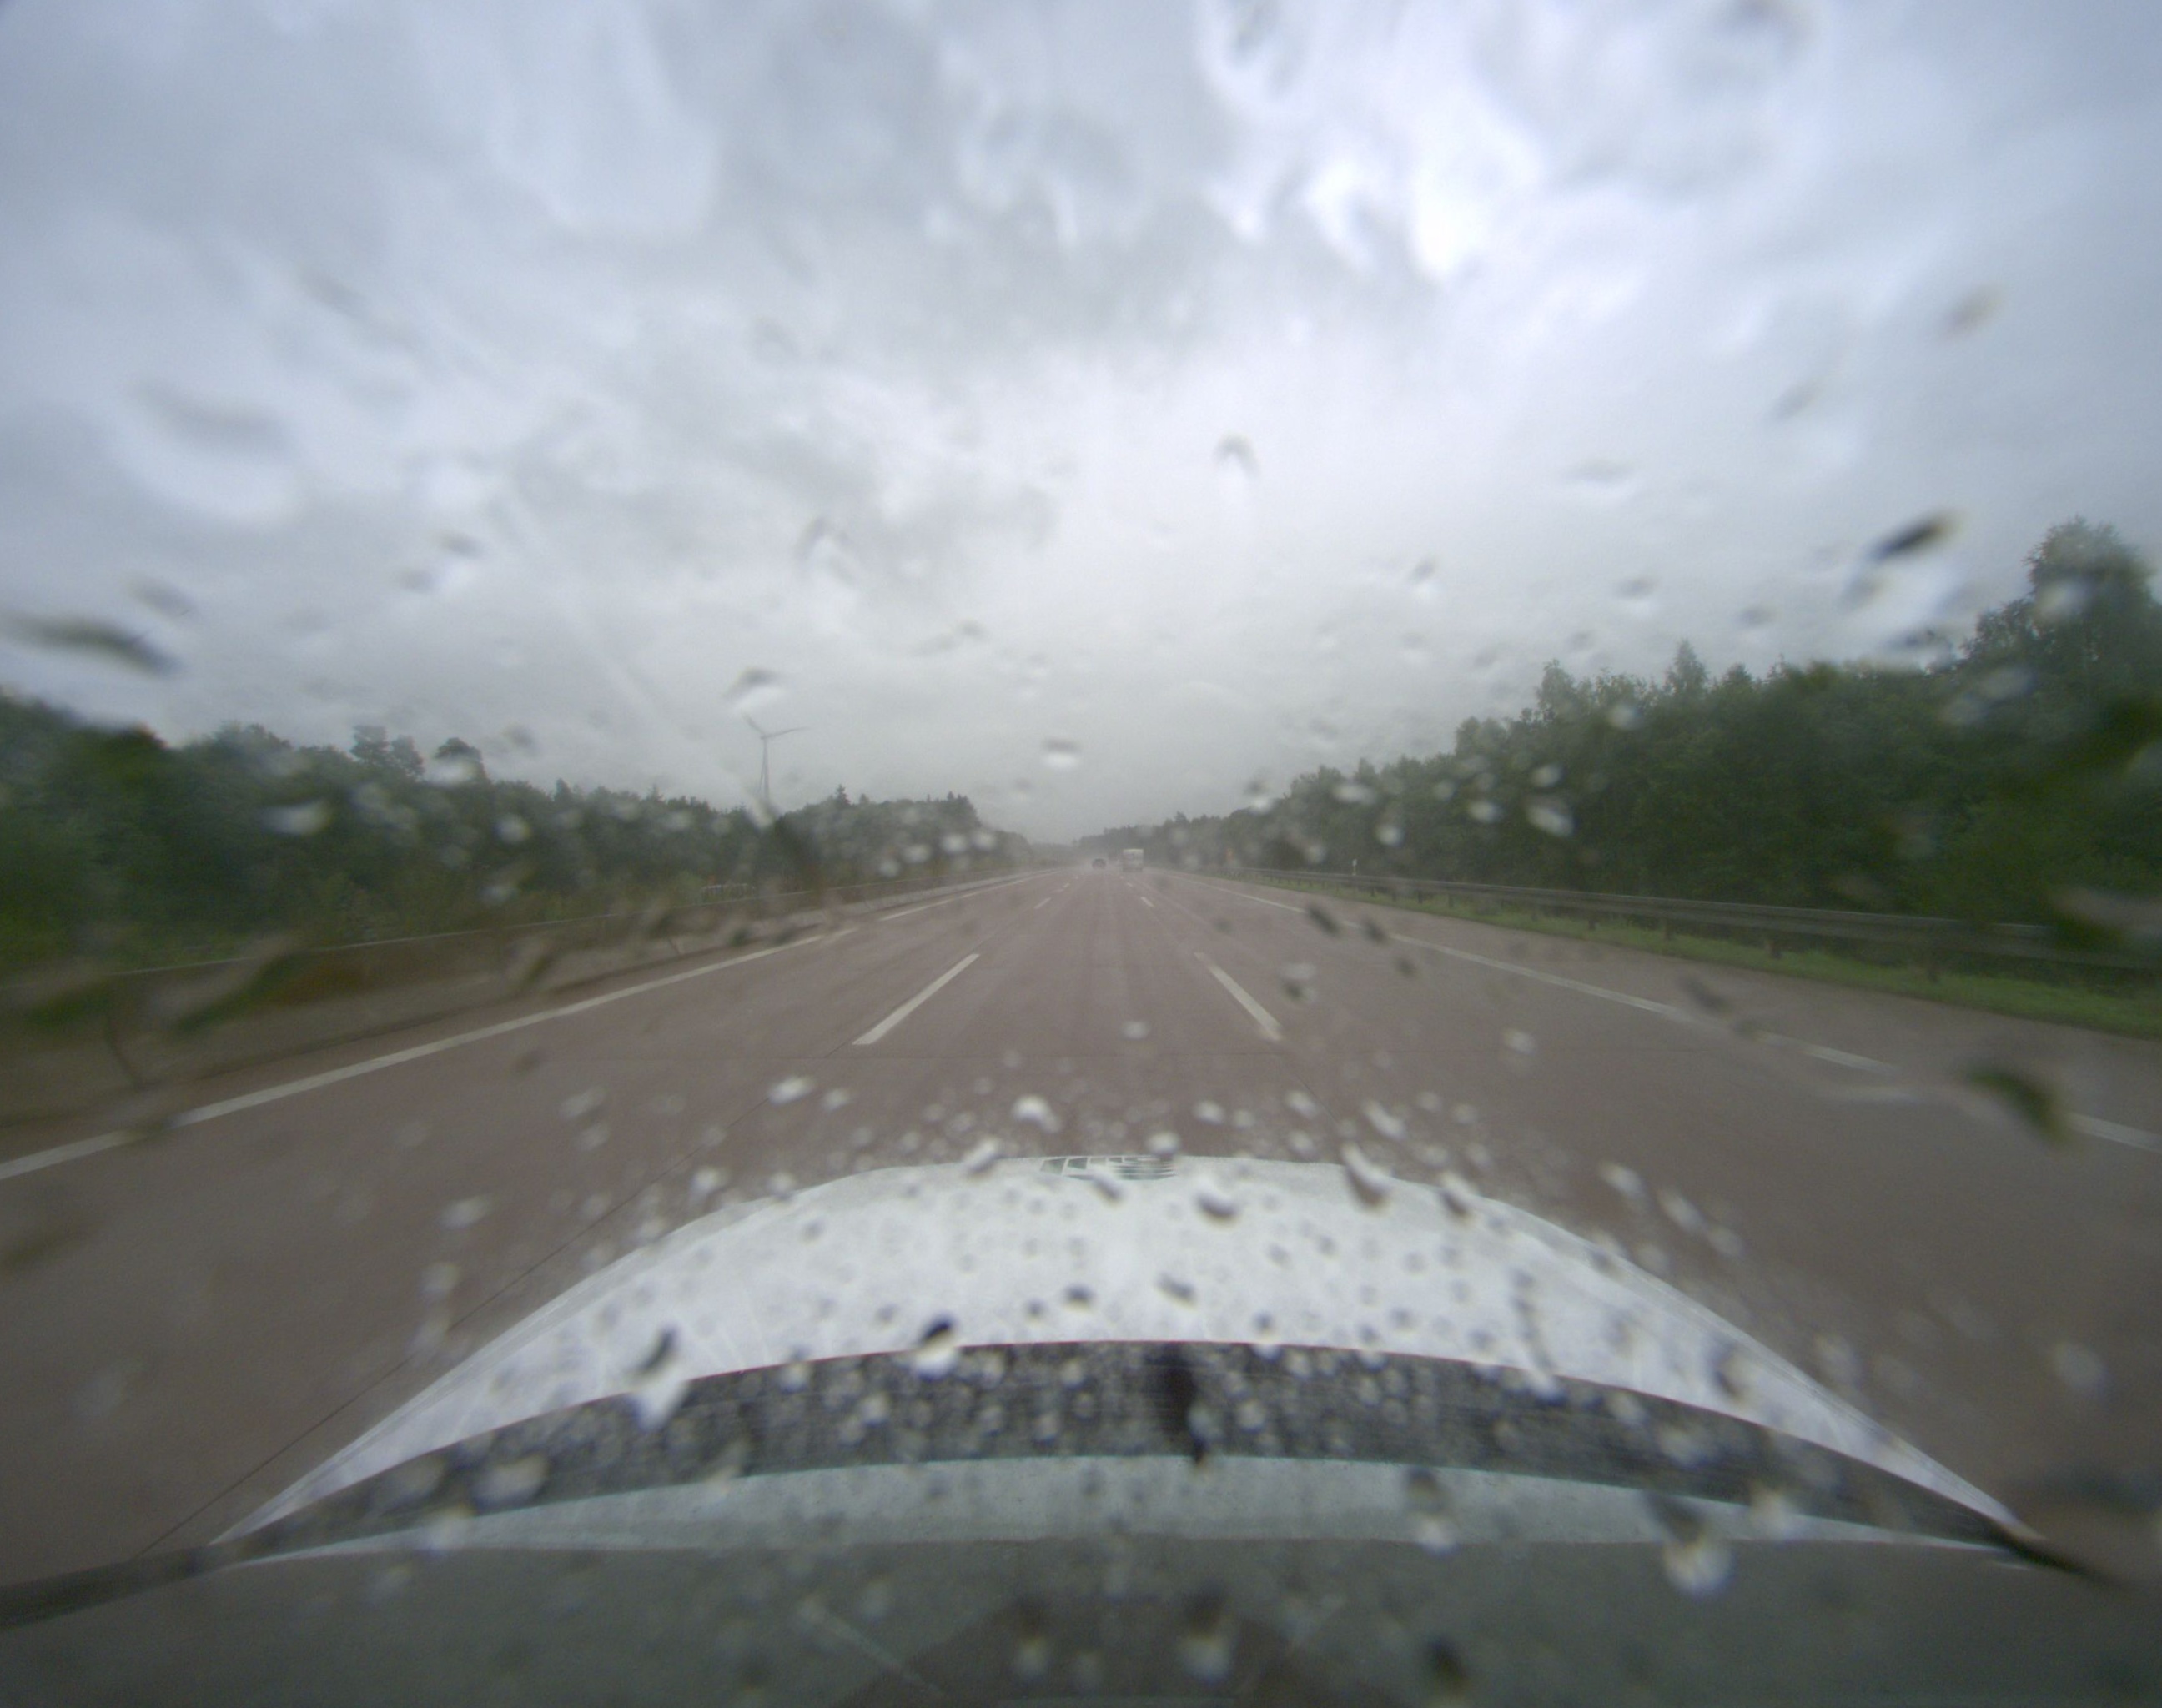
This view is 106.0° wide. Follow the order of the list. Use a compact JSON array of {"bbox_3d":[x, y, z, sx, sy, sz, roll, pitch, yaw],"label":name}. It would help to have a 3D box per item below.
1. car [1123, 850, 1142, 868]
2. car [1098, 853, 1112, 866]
[{"bbox_3d":[5.832,0.544,93.197,2.050,2.000,4.101,-1,0,3],"label":"car"},{"bbox_3d":[3.395,0.747,113.986,1.929,1.729,4.133,-1,0,3],"label":"car"}]
